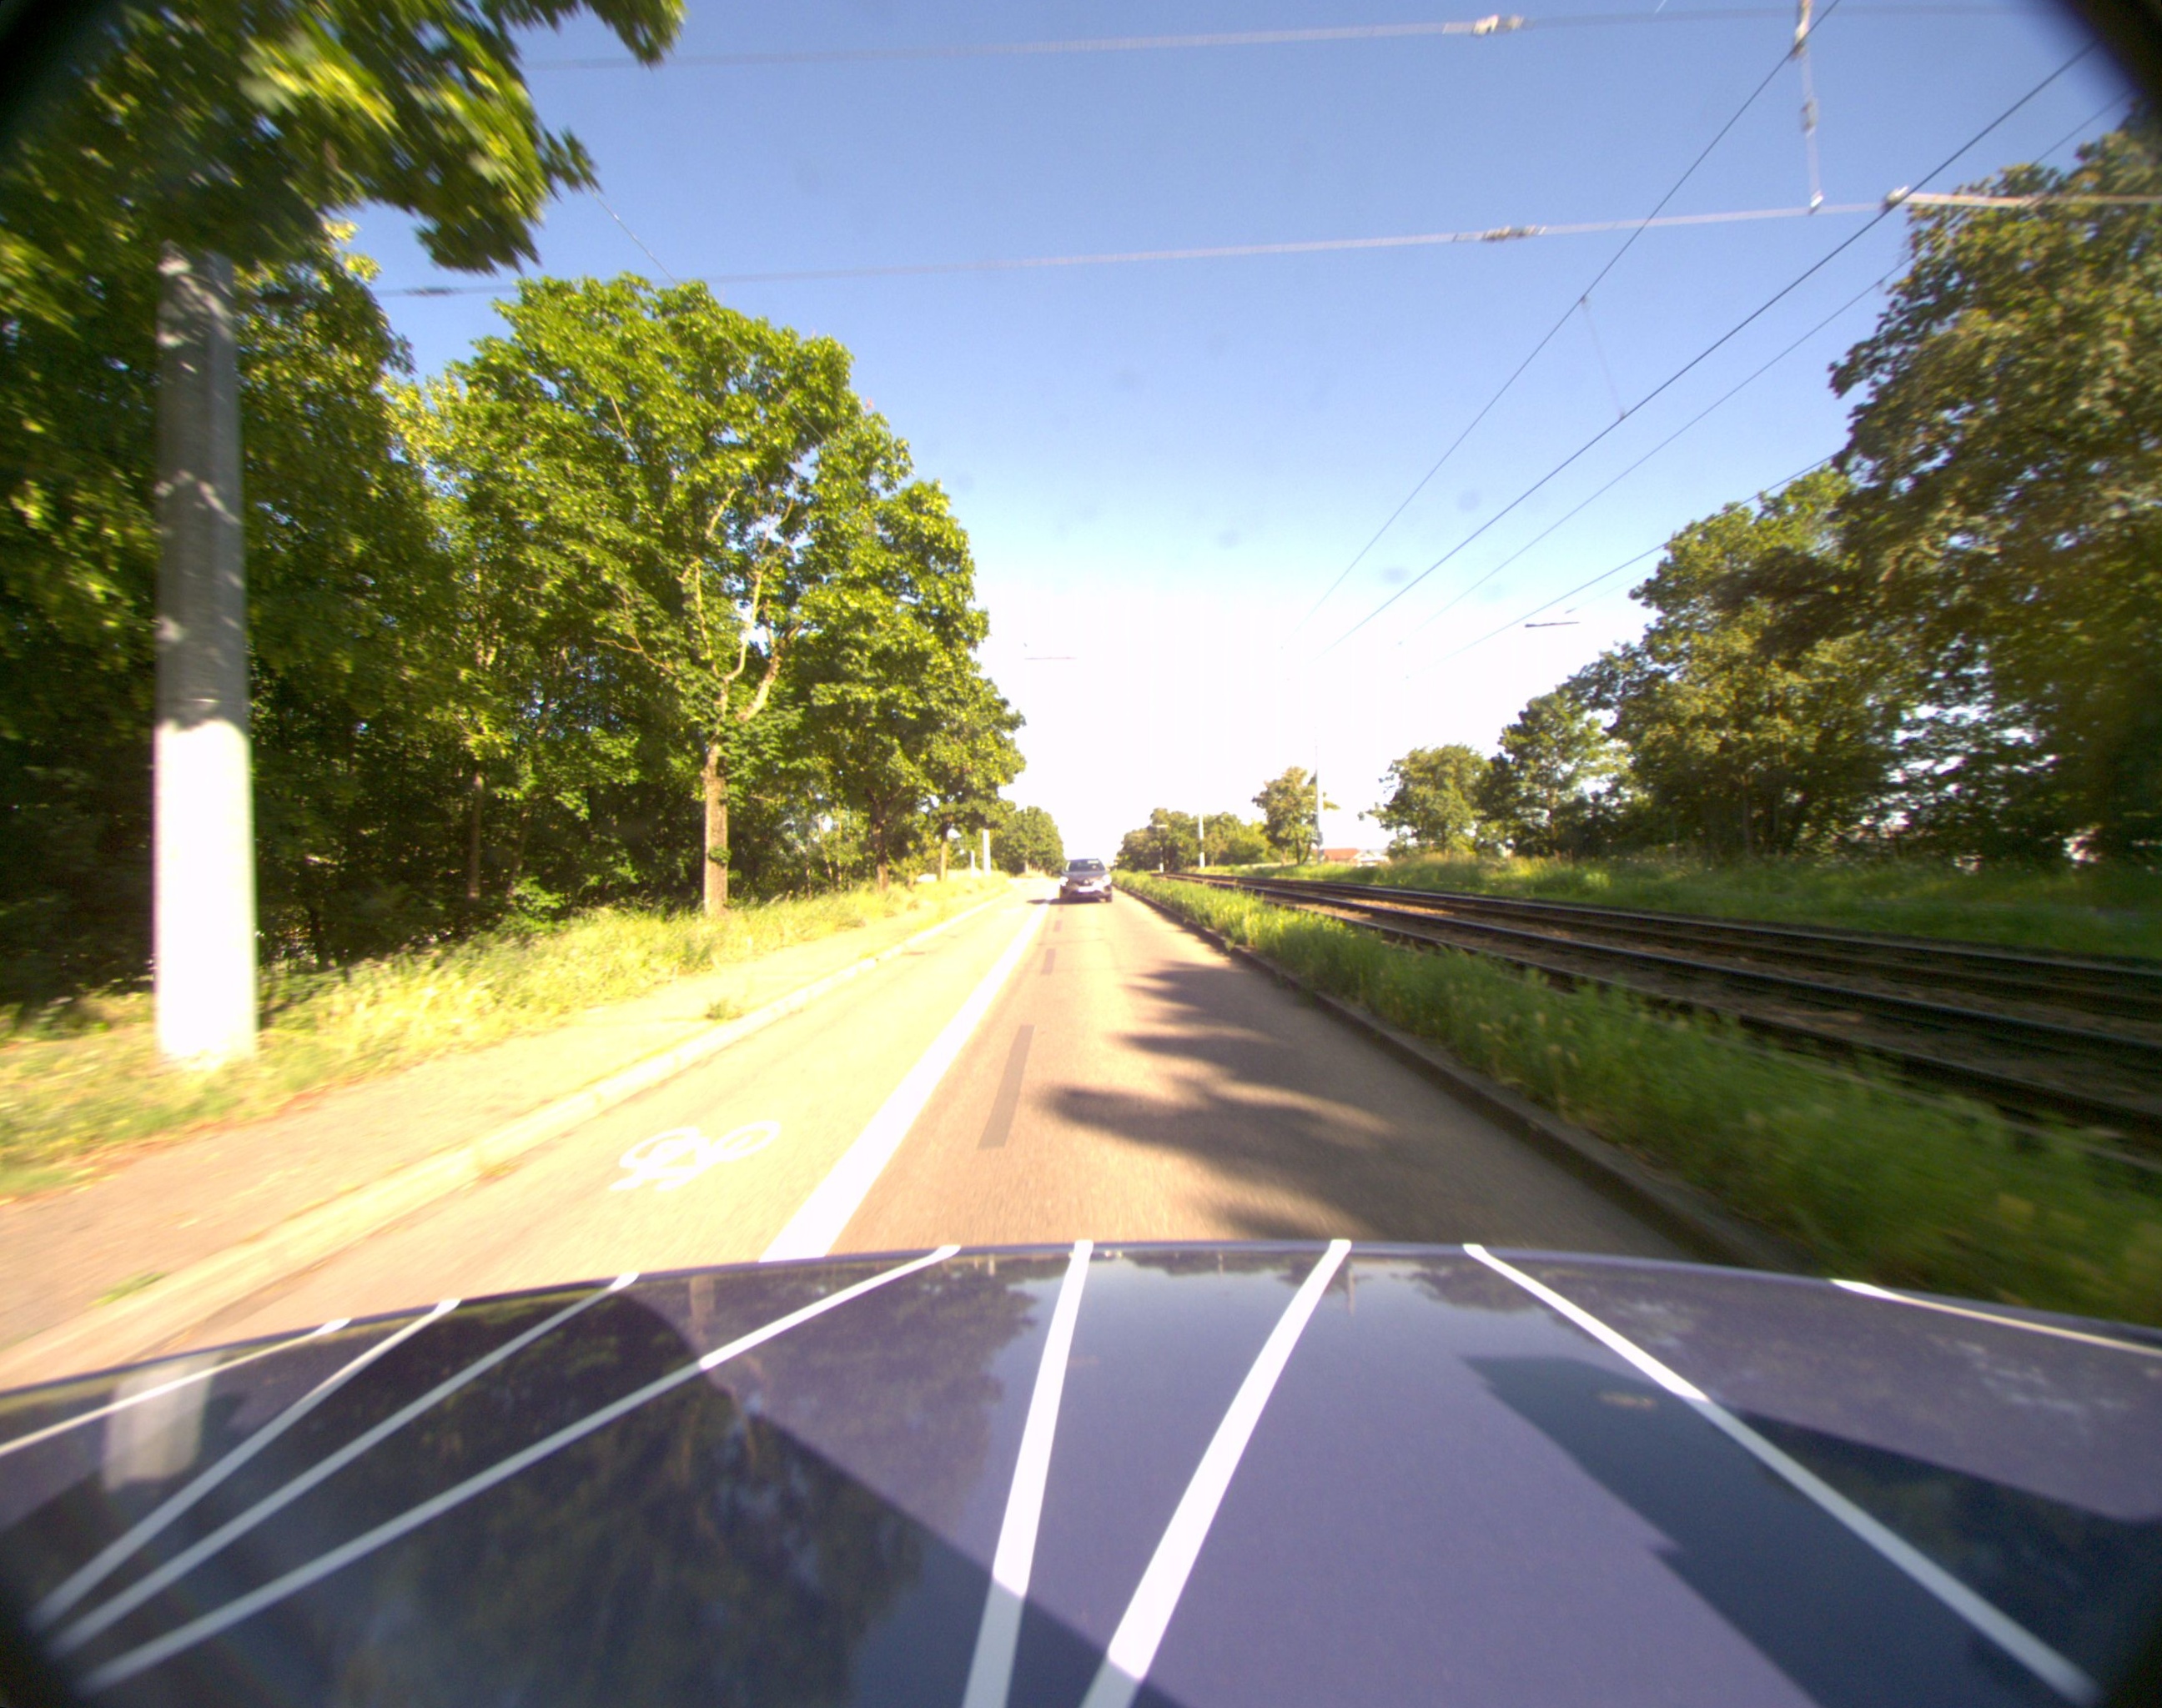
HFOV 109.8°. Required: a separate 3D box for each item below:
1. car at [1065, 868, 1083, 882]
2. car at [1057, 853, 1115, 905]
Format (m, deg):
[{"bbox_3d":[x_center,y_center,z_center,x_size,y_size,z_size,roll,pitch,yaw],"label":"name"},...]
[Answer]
[{"bbox_3d":[-0.897,2.723,97.855,1.999,1.577,3.998,-3,1,-5],"label":"car"},{"bbox_3d":[0.173,0.839,27.366,1.822,1.589,4.412,-3,0,0],"label":"car"}]
